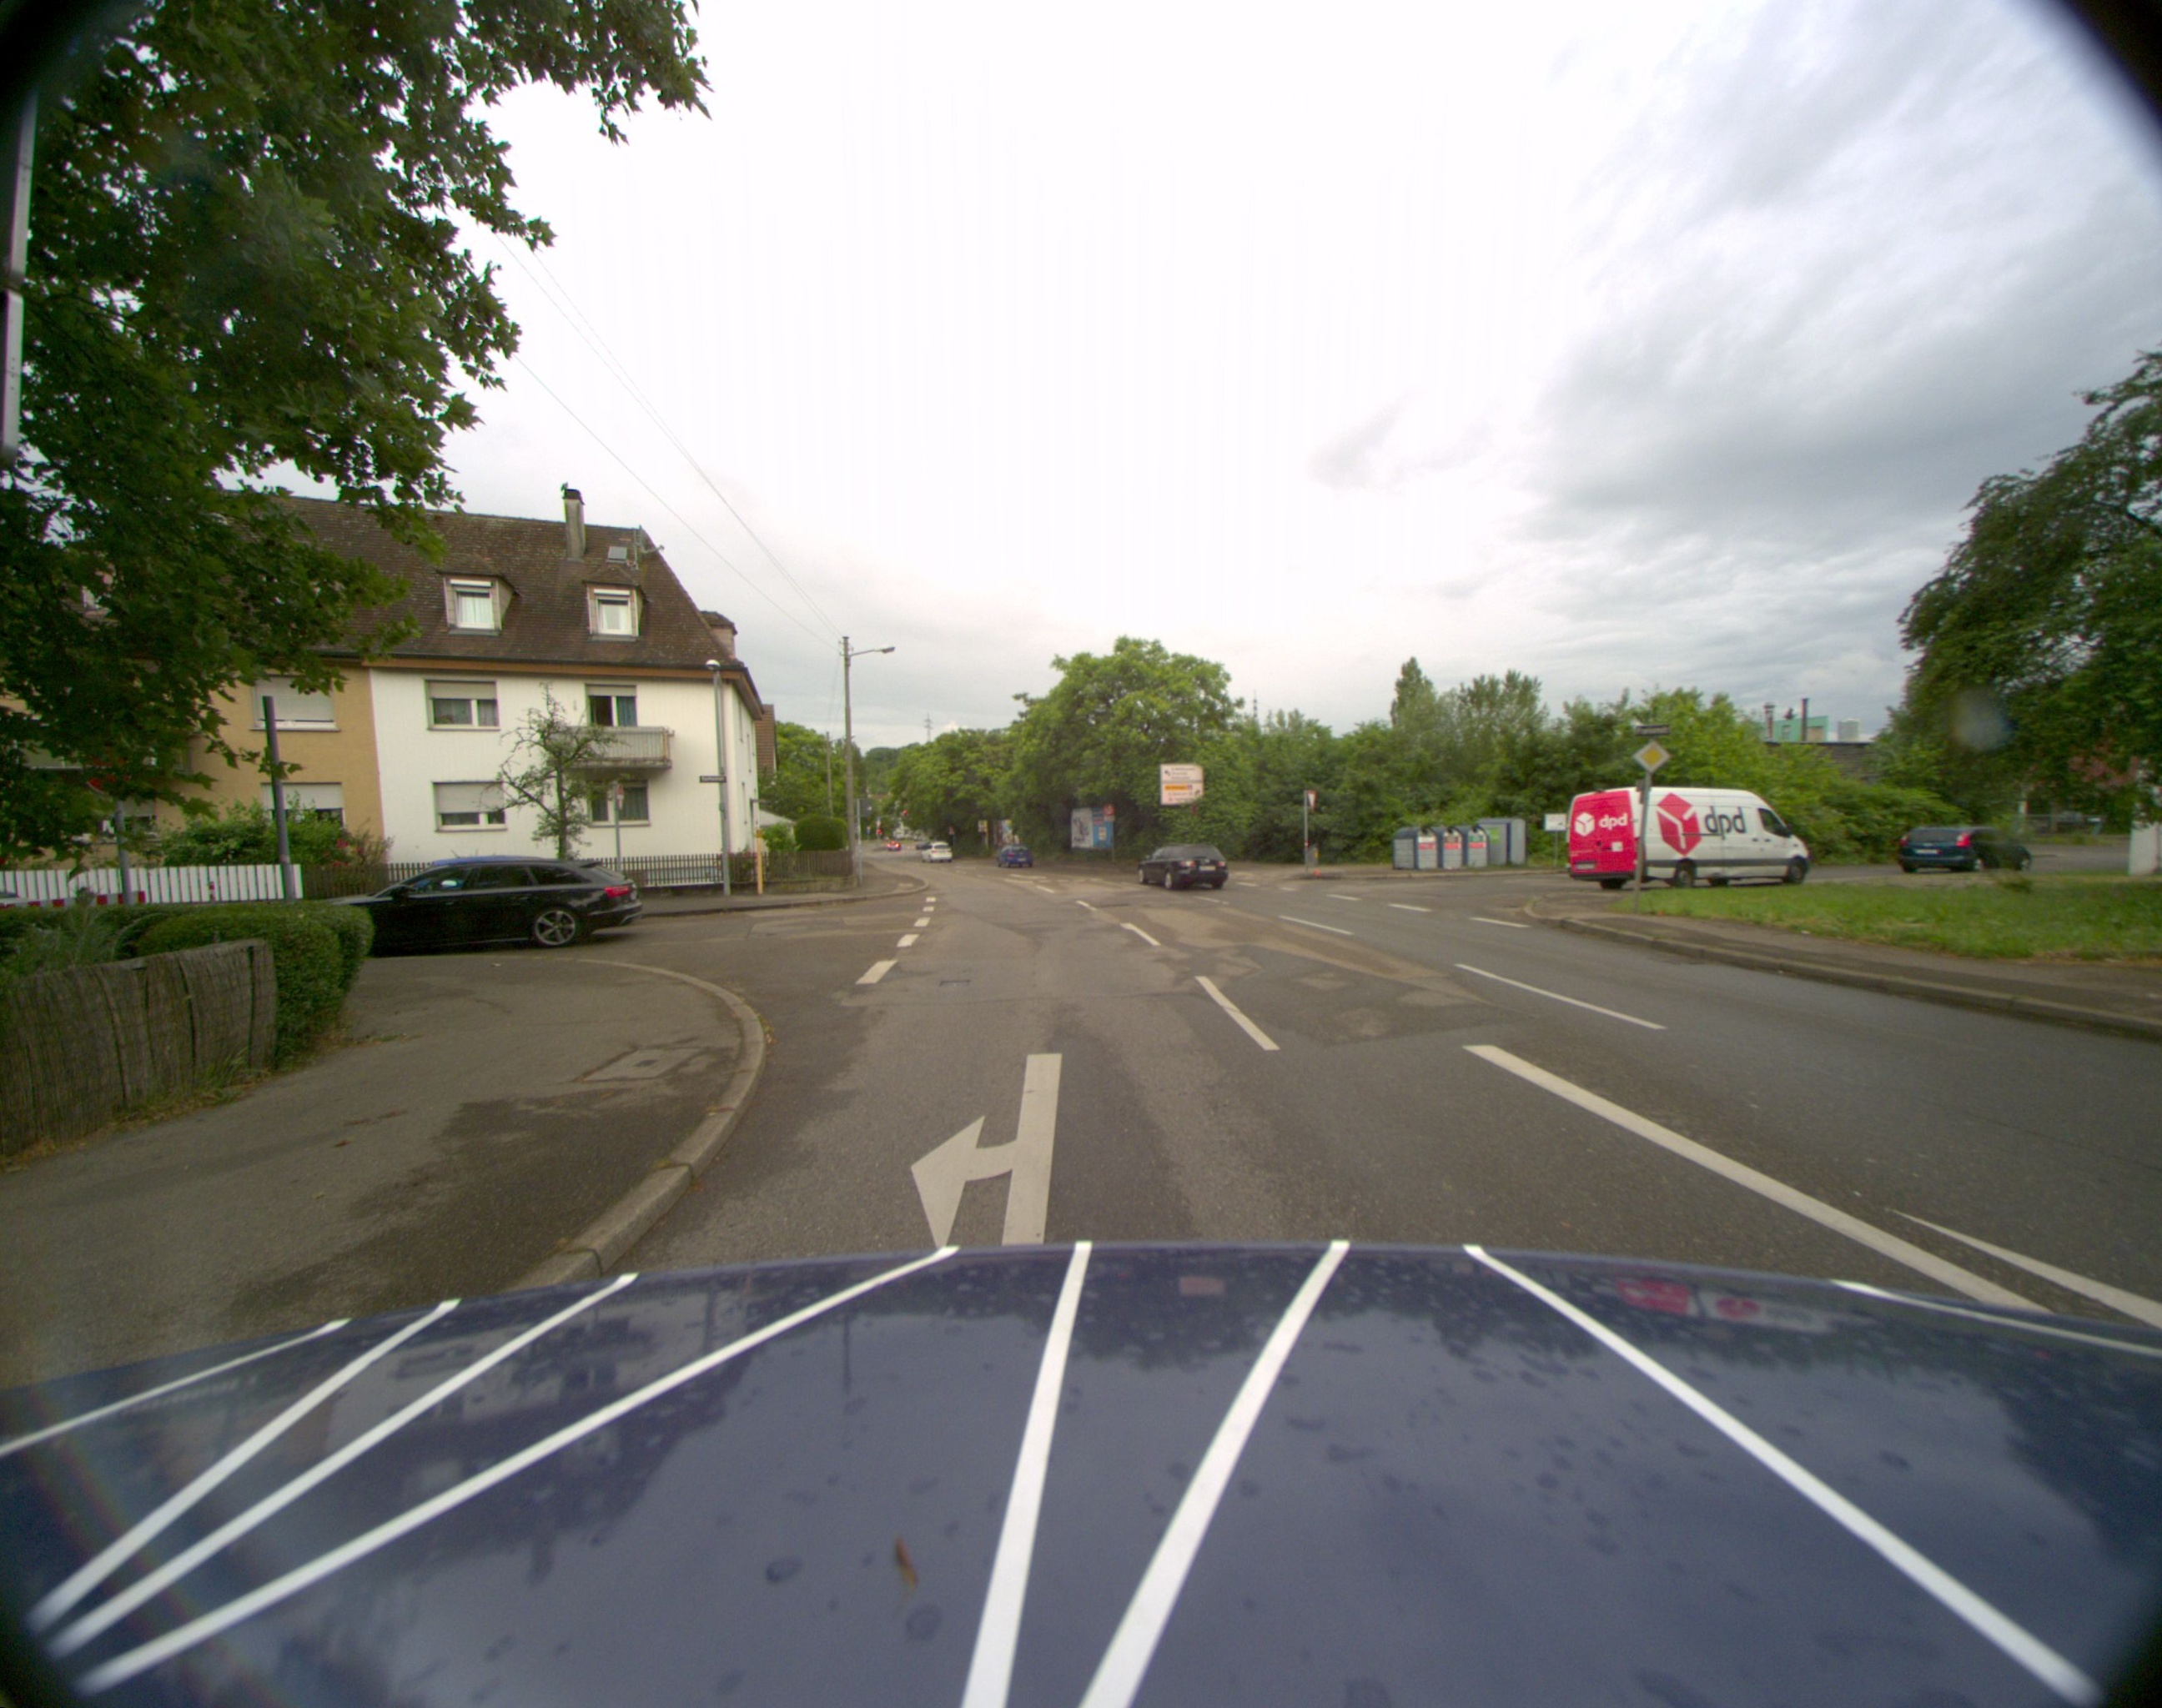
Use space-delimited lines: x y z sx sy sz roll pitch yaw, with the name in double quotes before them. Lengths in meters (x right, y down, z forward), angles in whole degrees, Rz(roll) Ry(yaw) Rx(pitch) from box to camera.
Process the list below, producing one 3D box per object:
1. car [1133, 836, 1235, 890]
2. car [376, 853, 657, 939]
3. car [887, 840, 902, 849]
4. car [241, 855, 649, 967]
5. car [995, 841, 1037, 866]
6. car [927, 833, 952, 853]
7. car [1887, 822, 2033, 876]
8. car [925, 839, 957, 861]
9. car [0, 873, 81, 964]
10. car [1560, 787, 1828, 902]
"car" 3.249 0.243 24.942 1.848 1.560 4.406 -2 1 -13
"car" -11.124 0.758 15.354 4.130 1.472 1.883 -1 1 -17
"car" -32.170 -1.599 130.968 1.903 1.453 3.992 -2 1 -21
"car" -10.057 0.810 12.615 4.824 1.472 1.882 -1 1 -24
"car" -4.112 -0.090 47.666 1.604 1.418 3.689 -3 2 -20
"car" -14.368 -1.131 77.045 1.965 1.920 4.676 -2 1 -16
"car" 30.142 -0.204 26.074 4.257 1.620 1.996 -3 2 -22
"car" -11.800 -0.305 63.766 1.839 1.568 4.328 -1 -2 -22
"car" -19.473 1.116 12.161 3.788 1.445 1.769 -2 1 -20
"car" 16.164 -0.349 20.031 6.829 2.641 2.258 -2 2 -20
